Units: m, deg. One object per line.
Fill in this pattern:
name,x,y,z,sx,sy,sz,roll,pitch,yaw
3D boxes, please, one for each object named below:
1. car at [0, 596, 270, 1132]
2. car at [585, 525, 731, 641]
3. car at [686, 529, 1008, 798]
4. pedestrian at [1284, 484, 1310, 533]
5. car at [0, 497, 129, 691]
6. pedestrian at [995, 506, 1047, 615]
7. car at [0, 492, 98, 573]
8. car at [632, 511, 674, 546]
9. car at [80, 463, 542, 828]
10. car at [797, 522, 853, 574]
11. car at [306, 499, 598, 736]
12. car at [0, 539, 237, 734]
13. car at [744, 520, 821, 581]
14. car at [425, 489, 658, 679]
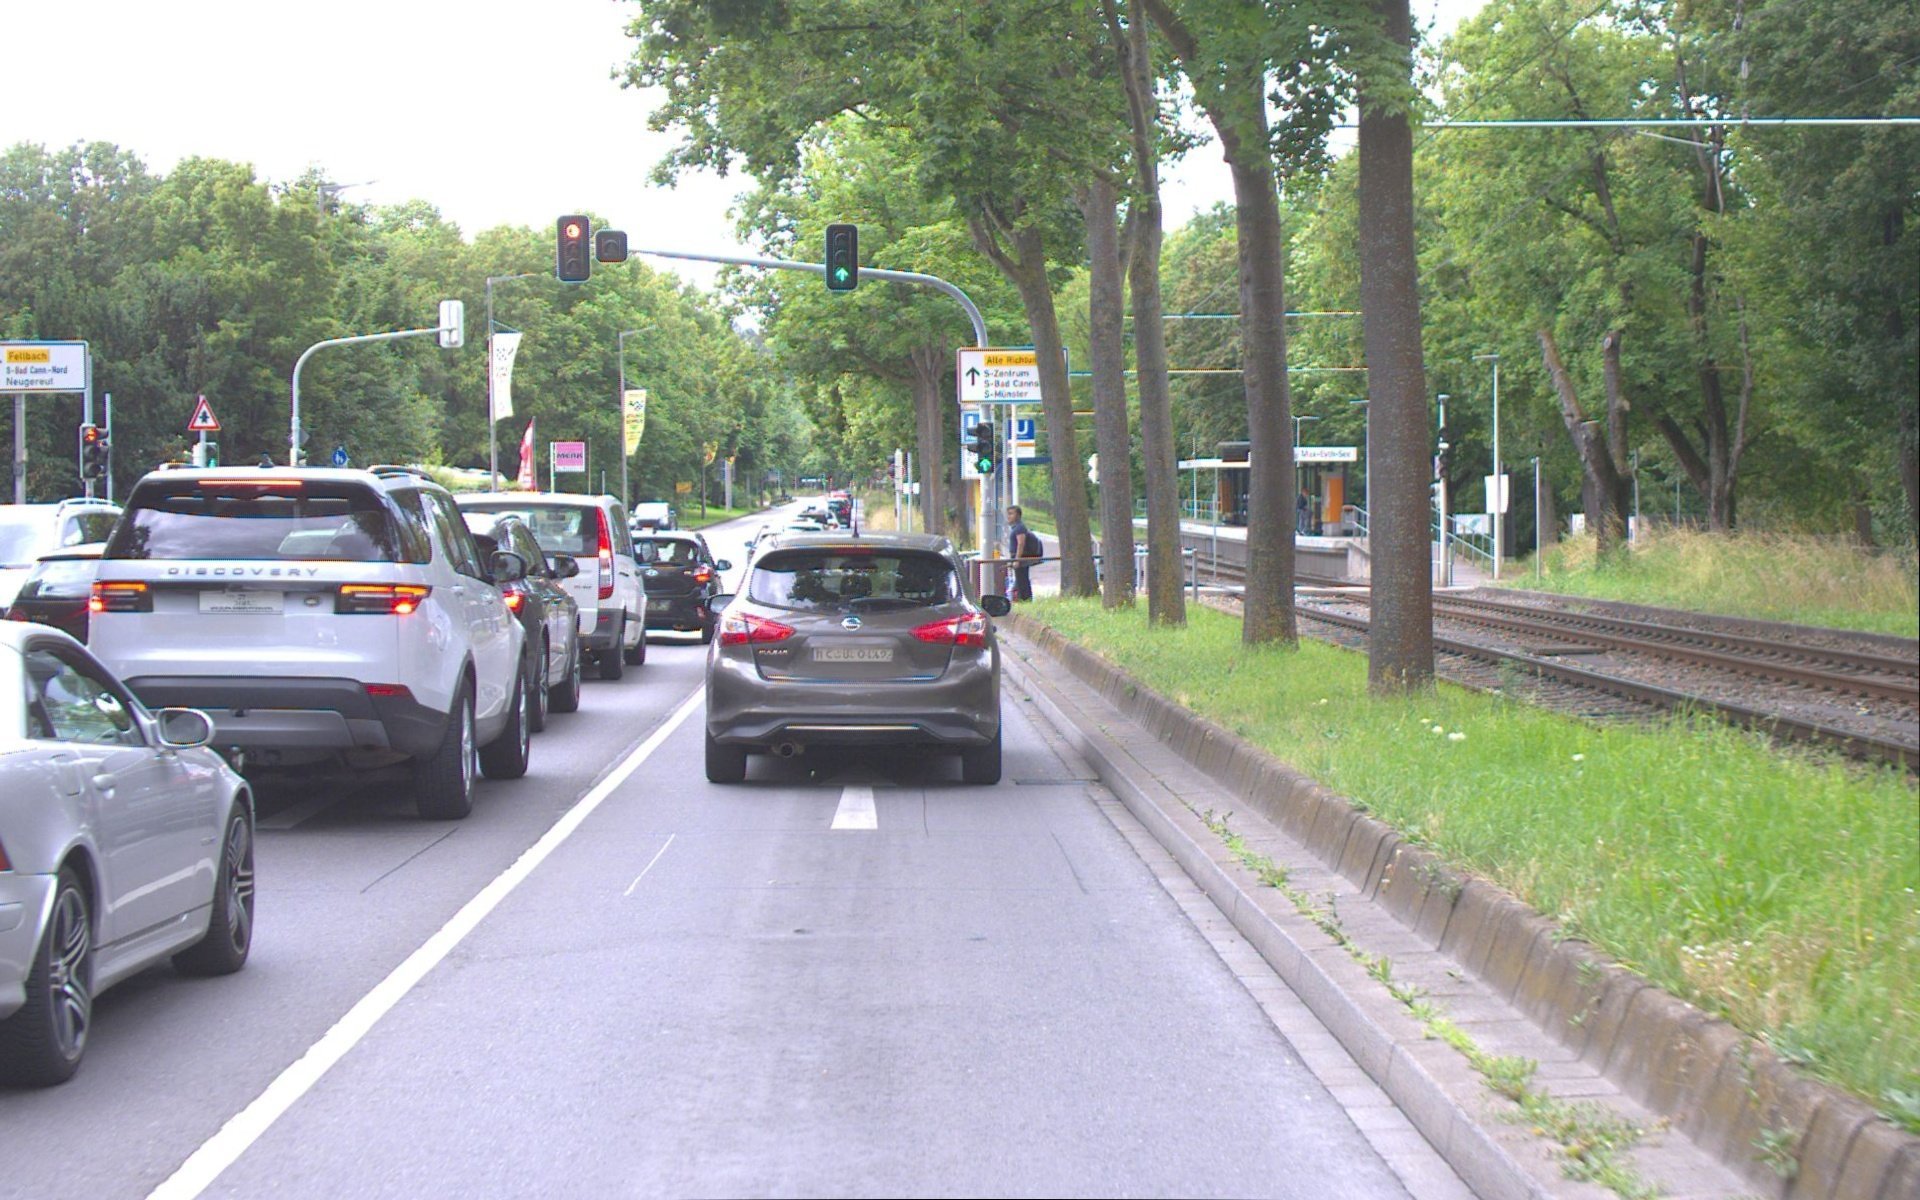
car,-3.224,0.659,10.479,1.555,1.262,3.823,0,1,-1
car,-3.973,-0.254,45.625,1.703,1.475,3.668,0,1,-1
car,-0.640,0.323,21.742,1.837,1.523,3.929,1,1,0
pedestrian,10.539,-2.847,107.583,0.718,1.506,0.724,2,1,1
car,-9.775,-0.084,34.717,1.791,1.825,4.410,-1,1,-2
pedestrian,0.998,-0.648,56.046,0.752,1.731,0.839,-3,1,3
car,-22.136,-1.557,78.679,4.428,1.805,1.950,0,1,-23
car,-14.876,-3.472,166.995,1.901,1.673,5.081,0,1,-4
car,-3.509,0.200,19.390,1.803,1.789,4.503,1,1,-1
car,-4.078,-1.580,103.984,1.503,1.523,3.671,1,1,0
car,-3.924,0.100,27.174,1.751,1.712,4.335,0,1,-1
car,-7.198,0.257,28.703,1.556,1.461,3.808,-2,1,-1
car,-4.474,-1.253,86.826,1.710,1.470,3.671,1,1,0
car,-4.264,-0.207,35.800,1.907,1.837,5.282,0,1,-1
